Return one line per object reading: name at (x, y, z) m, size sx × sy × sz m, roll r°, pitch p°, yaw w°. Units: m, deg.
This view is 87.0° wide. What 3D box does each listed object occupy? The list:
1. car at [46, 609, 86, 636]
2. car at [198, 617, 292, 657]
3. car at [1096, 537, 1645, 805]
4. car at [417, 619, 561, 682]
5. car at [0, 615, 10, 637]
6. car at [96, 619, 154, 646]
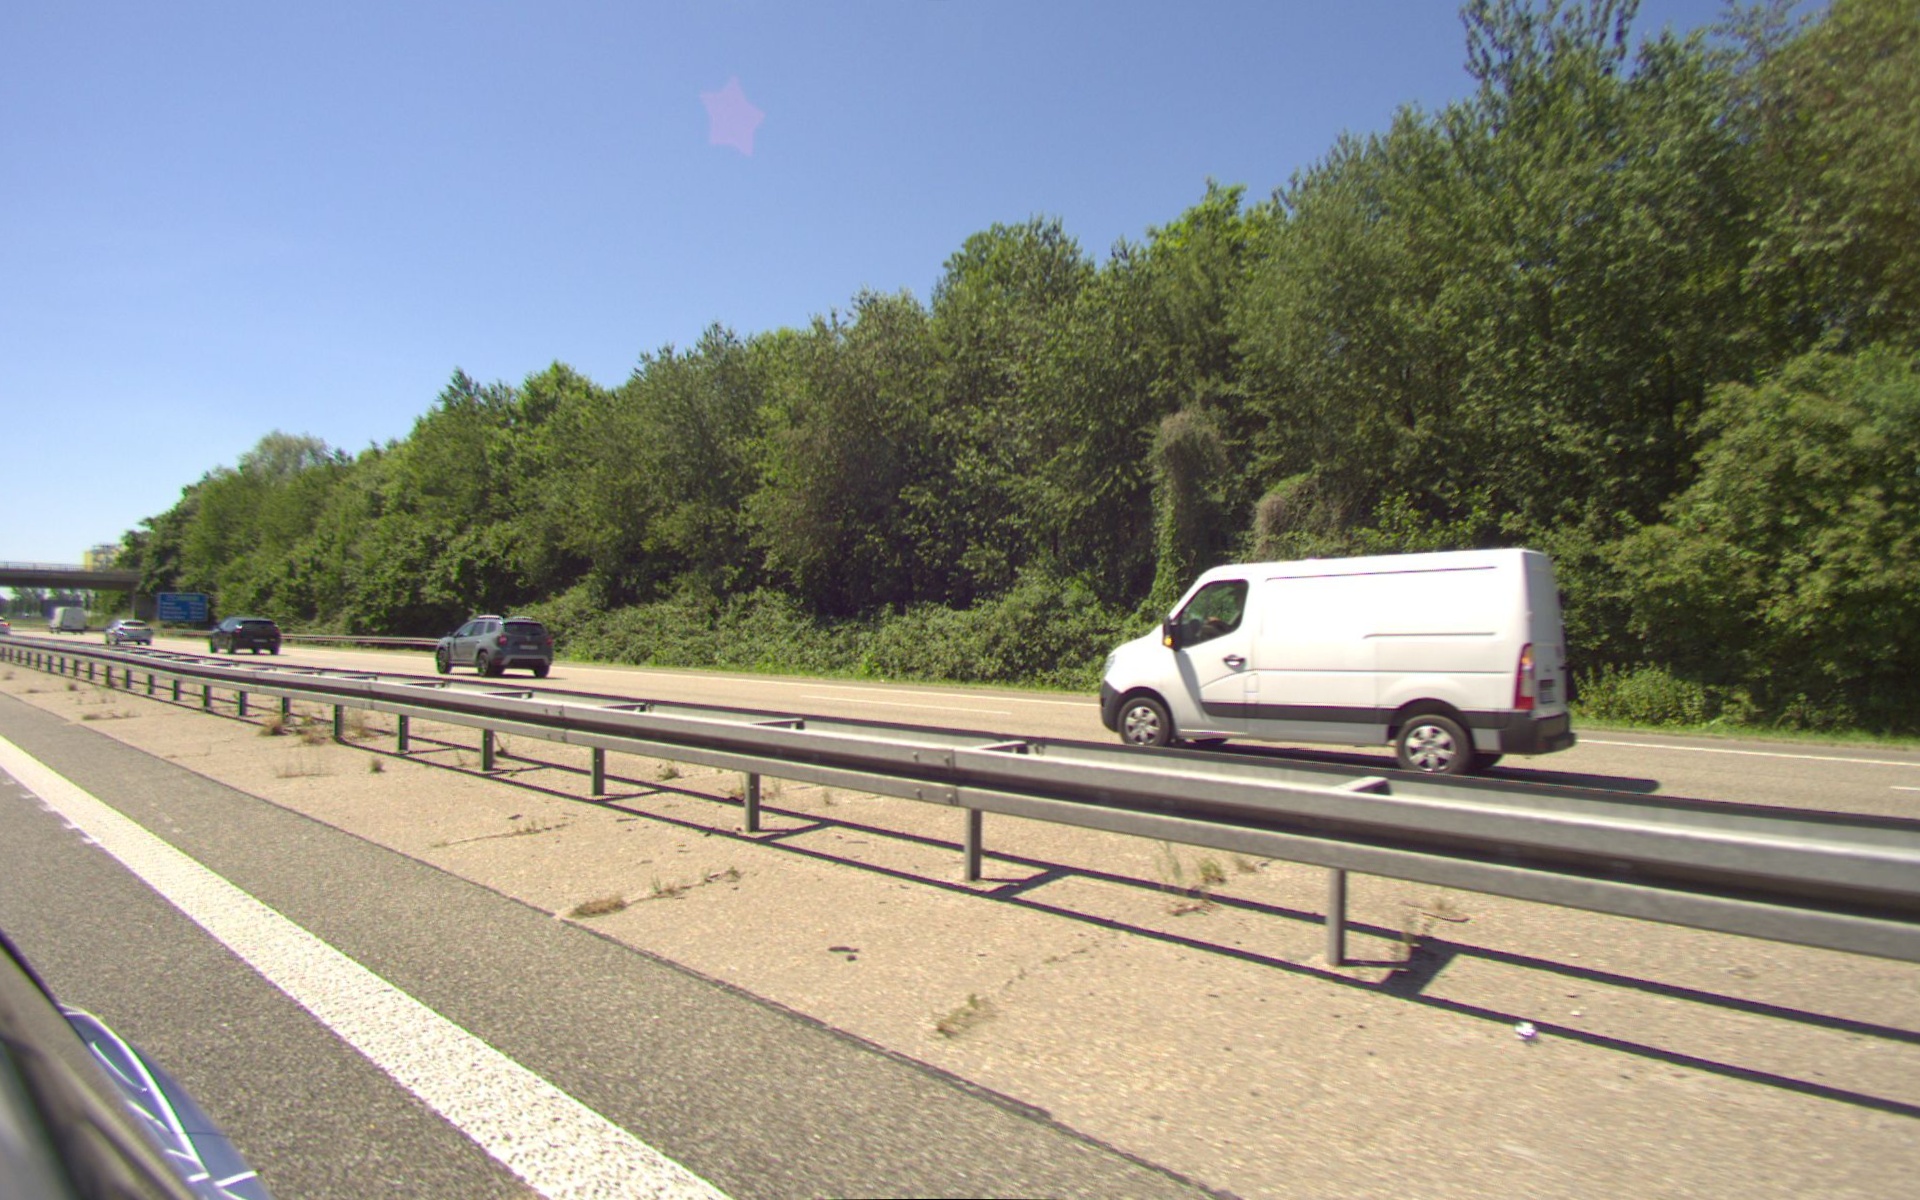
car at (-87.136, 2.224, 98.633) m, size 6.224 × 2.572 × 2.065 m, roll -1°, pitch -3°, yaw 41°
car at (-32.087, 1.648, 45.356) m, size 4.925 × 1.664 × 2.251 m, roll -1°, pitch -3°, yaw 41°
car at (4.302, 0.665, 11.227) m, size 5.273 × 2.306 × 2.066 m, roll -1°, pitch -2°, yaw 40°
car at (-13.330, 1.374, 28.508) m, size 4.794 × 1.643 × 1.801 m, roll -1°, pitch -3°, yaw 40°
car at (-68.307, 1.791, 71.006) m, size 4.819 × 1.535 × 1.801 m, roll -1°, pitch -2°, yaw 40°
car at (-49.632, 1.936, 60.140) m, size 4.819 × 1.535 × 1.801 m, roll -1°, pitch -2°, yaw 40°
